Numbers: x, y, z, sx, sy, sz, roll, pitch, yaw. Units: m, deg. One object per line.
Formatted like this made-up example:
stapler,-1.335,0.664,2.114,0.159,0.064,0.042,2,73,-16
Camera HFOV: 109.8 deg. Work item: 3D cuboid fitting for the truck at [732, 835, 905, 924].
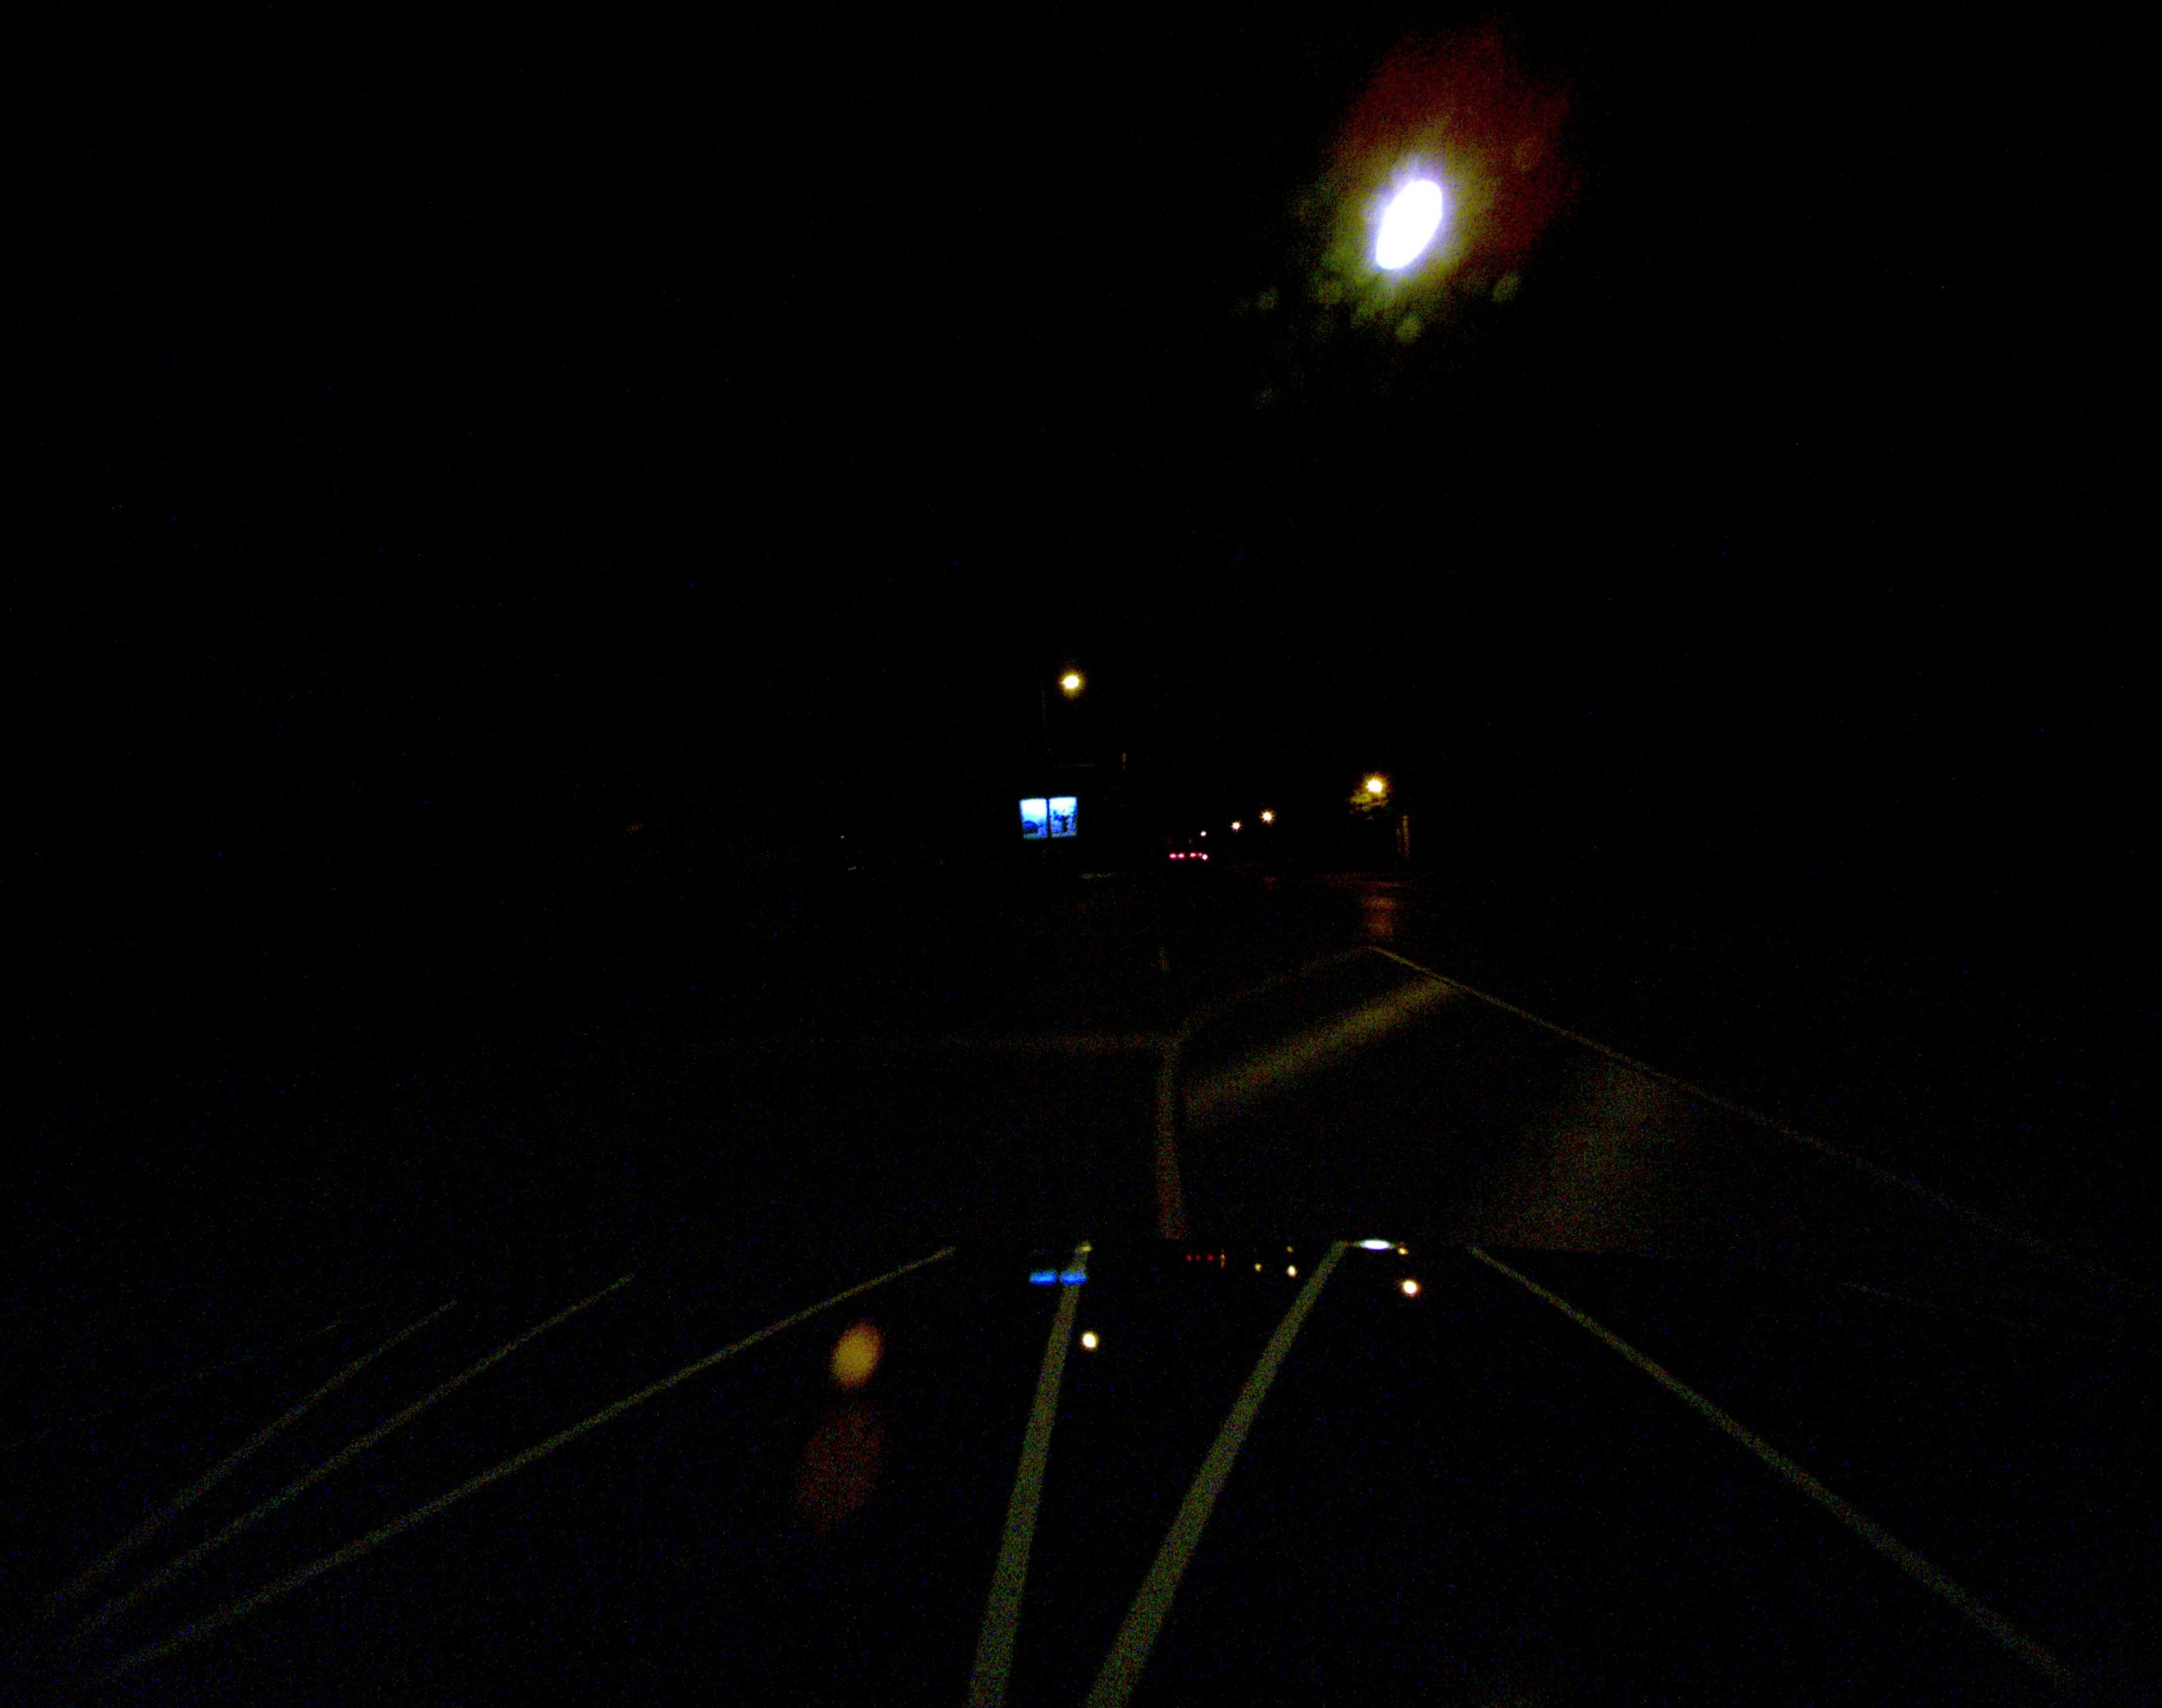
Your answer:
truck,-8.234,0.708,24.970,2.187,2.408,7.320,-3,0,8

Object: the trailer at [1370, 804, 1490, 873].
trailer,15.737,-0.683,34.488,4.358,2.704,2.001,-5,0,5

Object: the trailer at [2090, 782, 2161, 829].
trailer,41.501,-1.943,28.404,5.238,1.613,1.879,-4,0,-2

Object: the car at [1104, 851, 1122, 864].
car,4.131,0.495,97.983,1.940,1.543,4.000,-3,0,-1

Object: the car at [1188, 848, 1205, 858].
car,17.177,-0.134,113.299,1.853,1.436,4.917,-3,0,2

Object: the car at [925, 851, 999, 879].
car,-9.052,0.817,57.989,5.083,1.825,1.990,-3,0,8

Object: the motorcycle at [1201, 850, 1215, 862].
motorcycle,14.559,0.184,87.031,1.000,1.297,2.826,-3,0,0

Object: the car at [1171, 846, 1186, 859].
car,13.920,-0.233,108.766,1.998,1.617,4.754,-3,0,5

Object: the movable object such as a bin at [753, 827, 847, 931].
movable object such as a bin,-6.919,0.598,18.856,1.684,2.369,1.616,-3,0,-5

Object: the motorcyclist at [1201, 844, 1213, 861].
motorcyclist,14.409,-0.208,87.113,1.137,1.889,0.833,-3,1,-1

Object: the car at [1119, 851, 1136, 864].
car,6.220,0.518,101.900,1.998,1.542,4.326,-3,-1,0

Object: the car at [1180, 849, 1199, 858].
car,17.086,-0.088,119.770,1.999,1.371,4.597,-3,0,-3

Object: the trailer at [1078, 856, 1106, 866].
trailer,1.340,0.787,88.714,2.178,0.961,9.621,-4,-1,7

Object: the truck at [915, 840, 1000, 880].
truck,-8.935,0.445,55.450,5.542,2.584,2.473,-3,0,5
